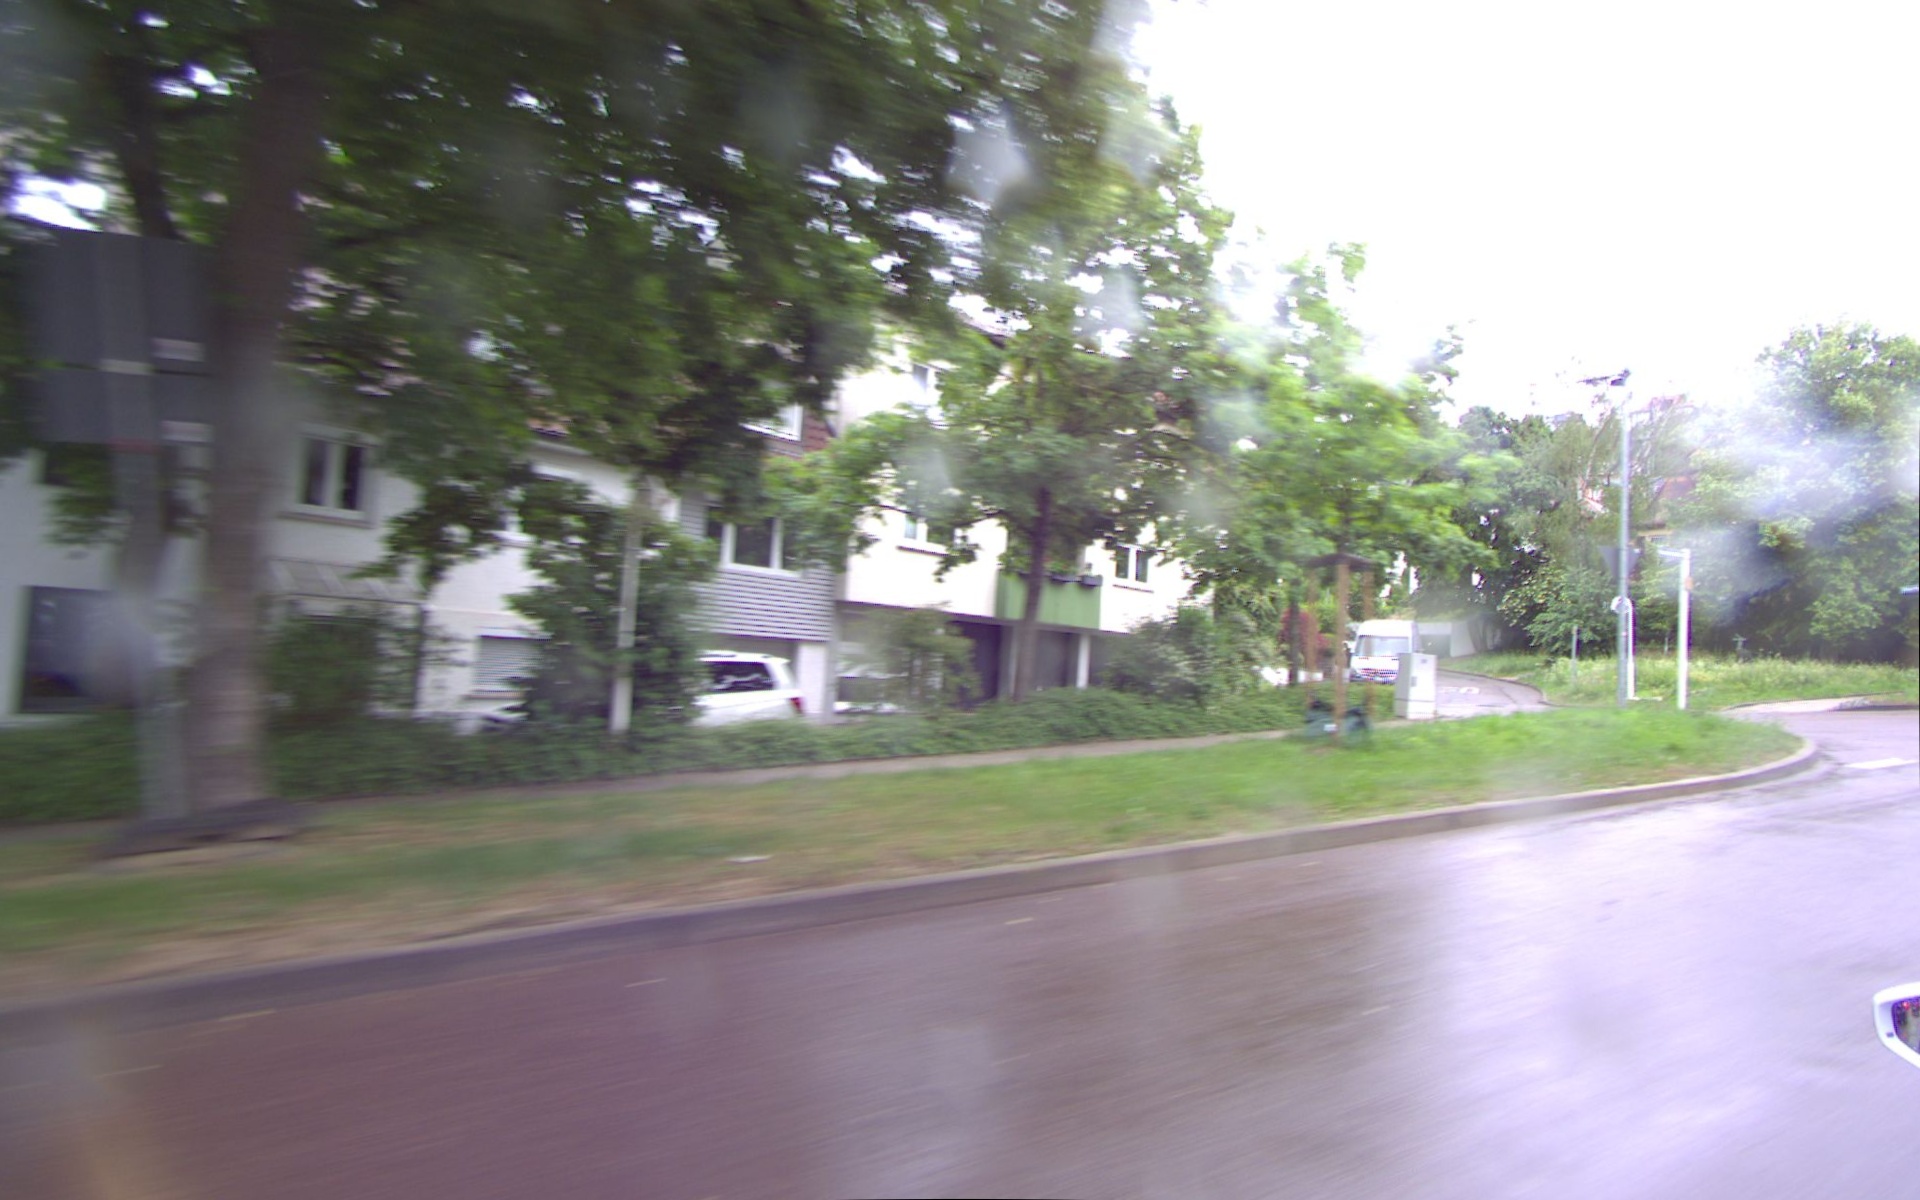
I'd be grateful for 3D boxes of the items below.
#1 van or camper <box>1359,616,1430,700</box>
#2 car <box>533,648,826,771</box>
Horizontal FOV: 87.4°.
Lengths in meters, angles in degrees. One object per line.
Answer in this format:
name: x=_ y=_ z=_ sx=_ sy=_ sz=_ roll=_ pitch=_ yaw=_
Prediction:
van or camper: x=15.207 y=1.918 z=34.968 sx=1.611 sy=2.591 sz=6.055 roll=3 pitch=0 yaw=29
car: x=-3.842 y=1.411 z=14.026 sx=1.973 sy=1.347 sz=3.426 roll=1 pitch=-1 yaw=45
